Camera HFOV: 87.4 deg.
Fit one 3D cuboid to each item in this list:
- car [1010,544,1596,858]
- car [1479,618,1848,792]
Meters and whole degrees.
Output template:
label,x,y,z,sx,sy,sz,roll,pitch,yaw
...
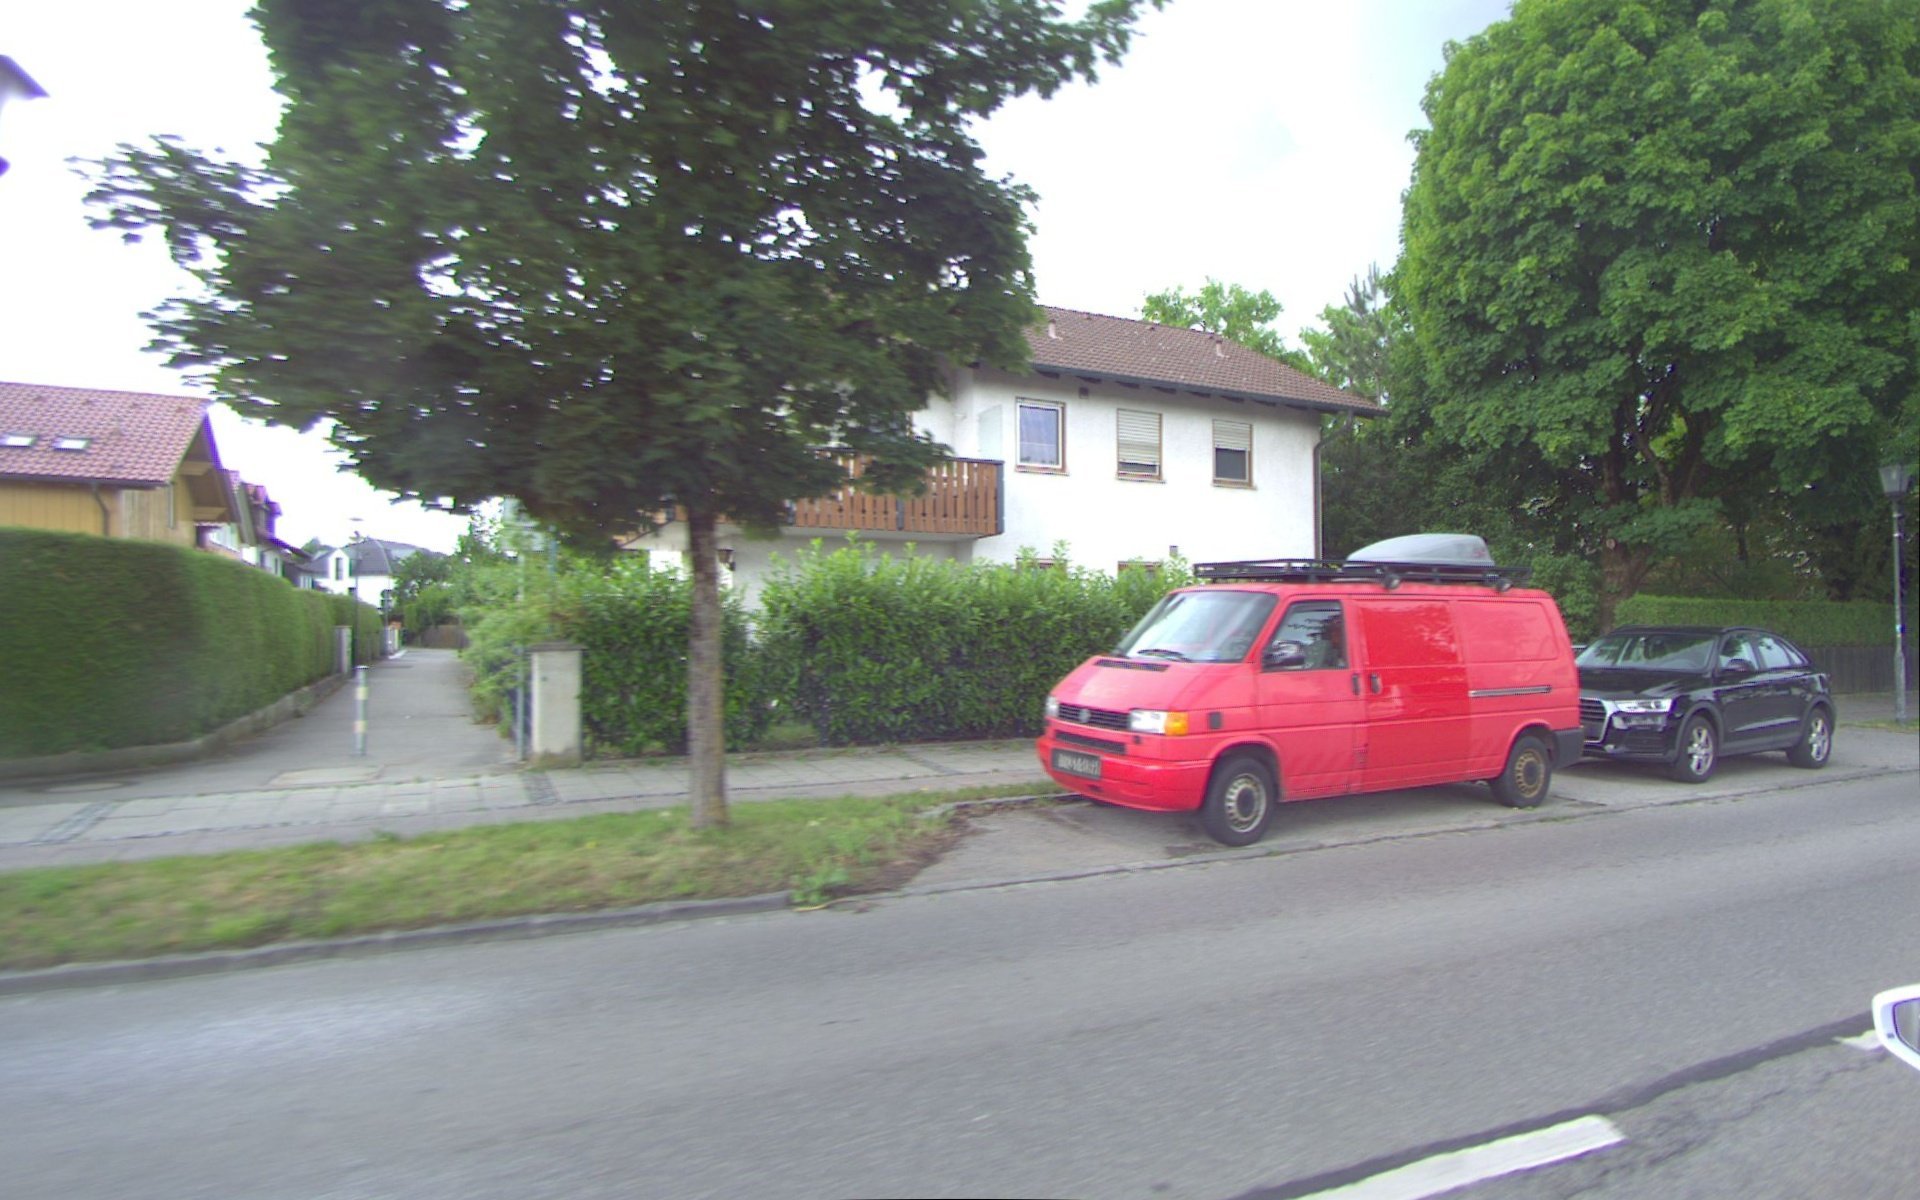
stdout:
label,x,y,z,sx,sy,sz,roll,pitch,yaw
car,3.029,0.681,8.562,4.983,2.057,1.822,1,0,-28
car,7.984,1.029,11.340,4.185,1.619,1.764,1,0,-29
